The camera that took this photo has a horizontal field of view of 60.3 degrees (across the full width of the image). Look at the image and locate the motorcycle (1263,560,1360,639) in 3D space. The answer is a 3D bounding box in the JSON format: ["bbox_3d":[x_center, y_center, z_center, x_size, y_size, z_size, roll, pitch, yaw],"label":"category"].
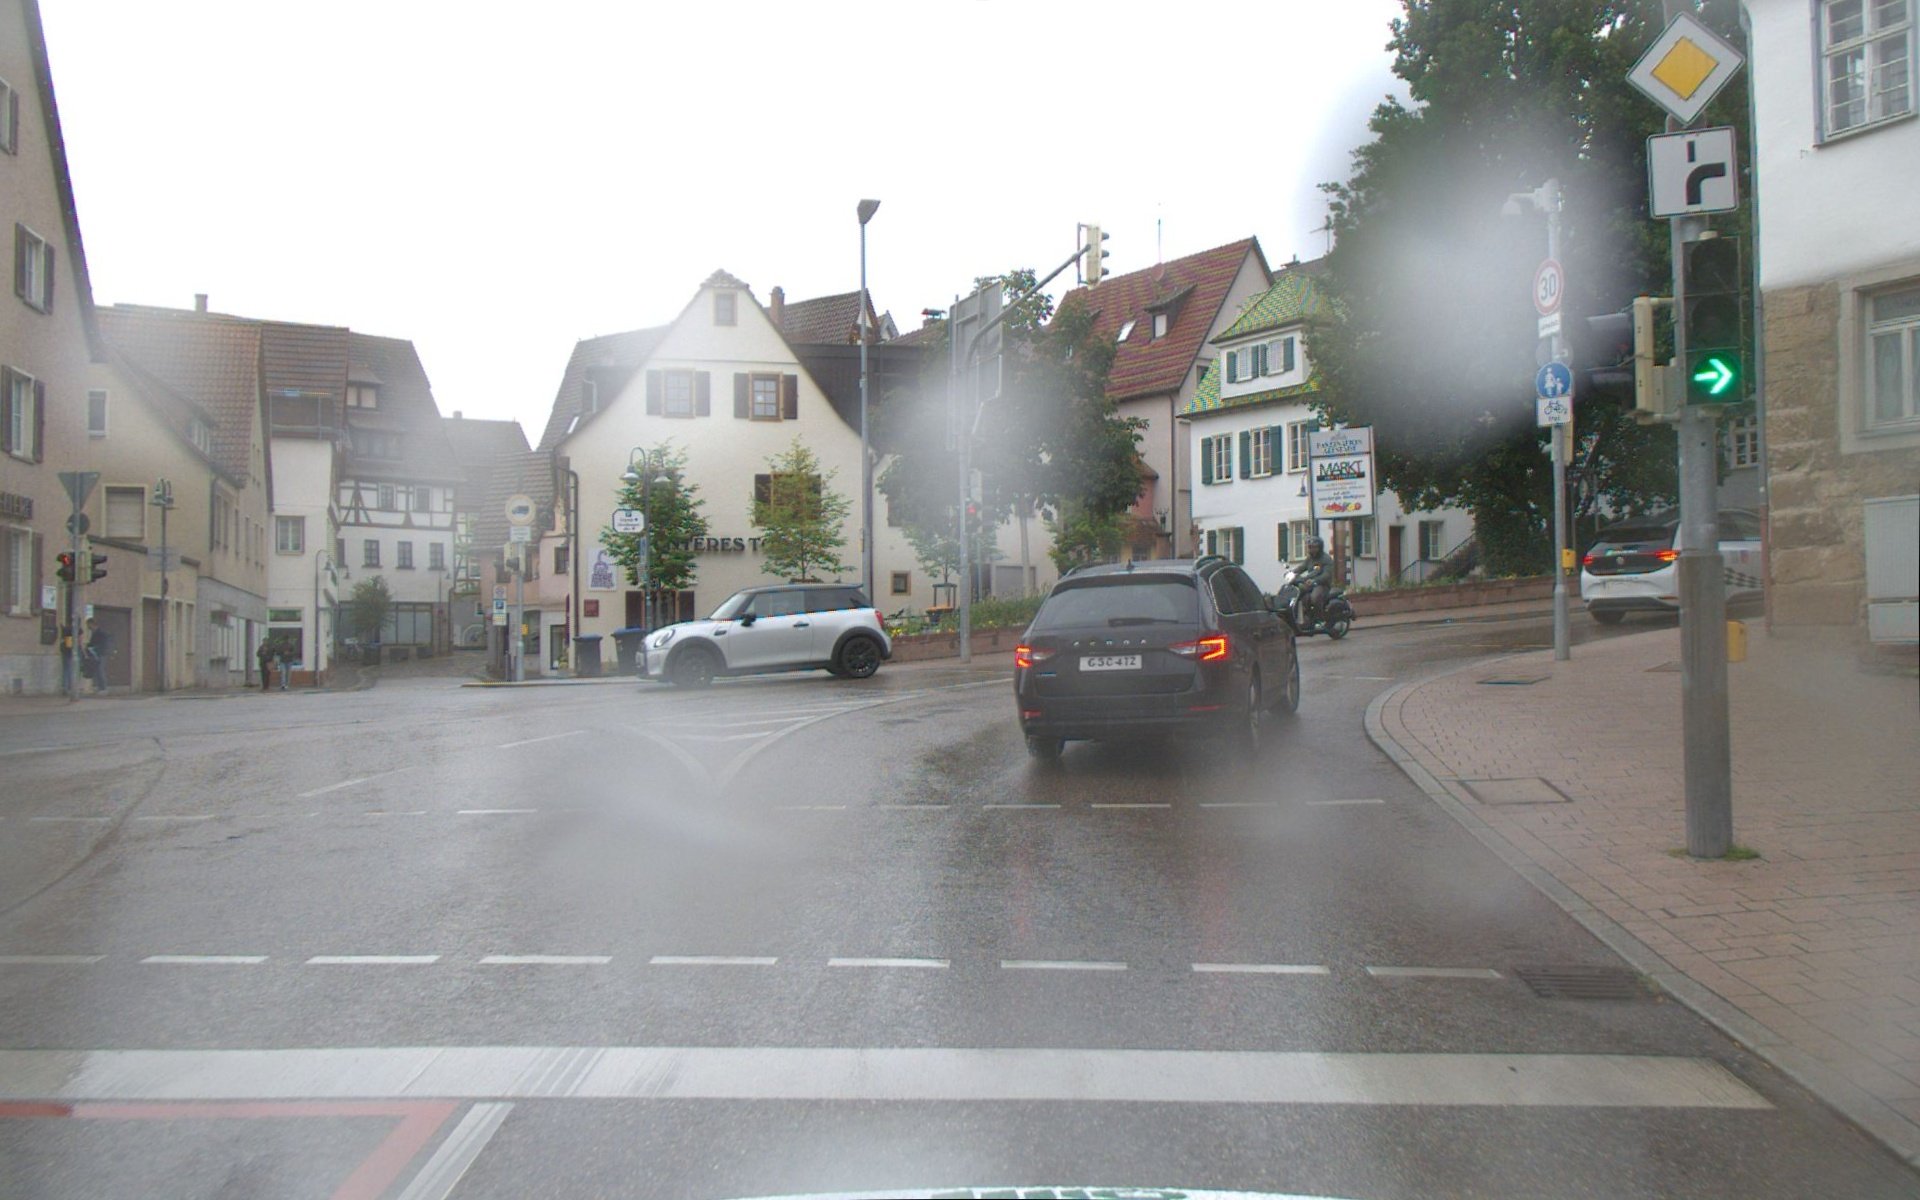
[{"bbox_3d":[5.609,-0.016,26.335,0.756,1.150,1.909,-2,1,36],"label":"motorcycle"}]

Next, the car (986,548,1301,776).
[{"bbox_3d":[1.677,0.357,13.532,1.847,1.473,4.361,0,3,16],"label":"car"}]

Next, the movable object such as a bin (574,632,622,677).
[{"bbox_3d":[-7.900,1.189,36.134,0.709,0.943,0.788,0,0,22],"label":"movable object such as a bin"}]

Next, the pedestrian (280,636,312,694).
[{"bbox_3d":[-21.216,2.066,52.867,0.765,1.762,0.629,-3,1,-12],"label":"pedestrian"}]

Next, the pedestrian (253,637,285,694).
[{"bbox_3d":[-22.011,2.076,52.698,0.765,1.762,0.629,-3,1,-12],"label":"pedestrian"}]

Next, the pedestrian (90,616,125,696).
[{"bbox_3d":[-18.978,1.256,36.830,0.543,1.759,0.537,-1,-2,-7],"label":"pedestrian"}]

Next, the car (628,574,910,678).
[{"bbox_3d":[-2.897,0.356,24.800,3.923,1.456,1.991,0,0,-17],"label":"car"}]

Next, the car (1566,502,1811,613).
[{"bbox_3d":[10.829,-0.652,24.480,3.966,1.498,1.834,-3,2,-42],"label":"car"}]

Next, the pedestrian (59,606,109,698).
[{"bbox_3d":[-18.666,1.103,35.231,0.788,1.862,0.707,-5,1,-31],"label":"pedestrian"}]

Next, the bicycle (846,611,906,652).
[{"bbox_3d":[-2.028,0.753,40.034,1.452,0.928,0.388,-2,2,-34],"label":"bicycle"}]

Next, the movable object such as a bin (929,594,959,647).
[{"bbox_3d":[-0.404,0.502,41.066,0.670,1.299,0.747,0,0,-7],"label":"movable object such as a bin"}]

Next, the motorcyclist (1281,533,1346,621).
[{"bbox_3d":[5.643,-0.356,26.392,0.795,1.377,0.665,0,0,38],"label":"motorcyclist"}]

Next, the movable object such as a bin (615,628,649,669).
[{"bbox_3d":[-7.465,1.101,37.603,0.581,0.917,0.578,-1,0,-32],"label":"movable object such as a bin"}]

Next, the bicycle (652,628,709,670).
[{"bbox_3d":[-6.194,1.081,36.695,0.331,0.833,1.432,1,2,35],"label":"bicycle"}]
